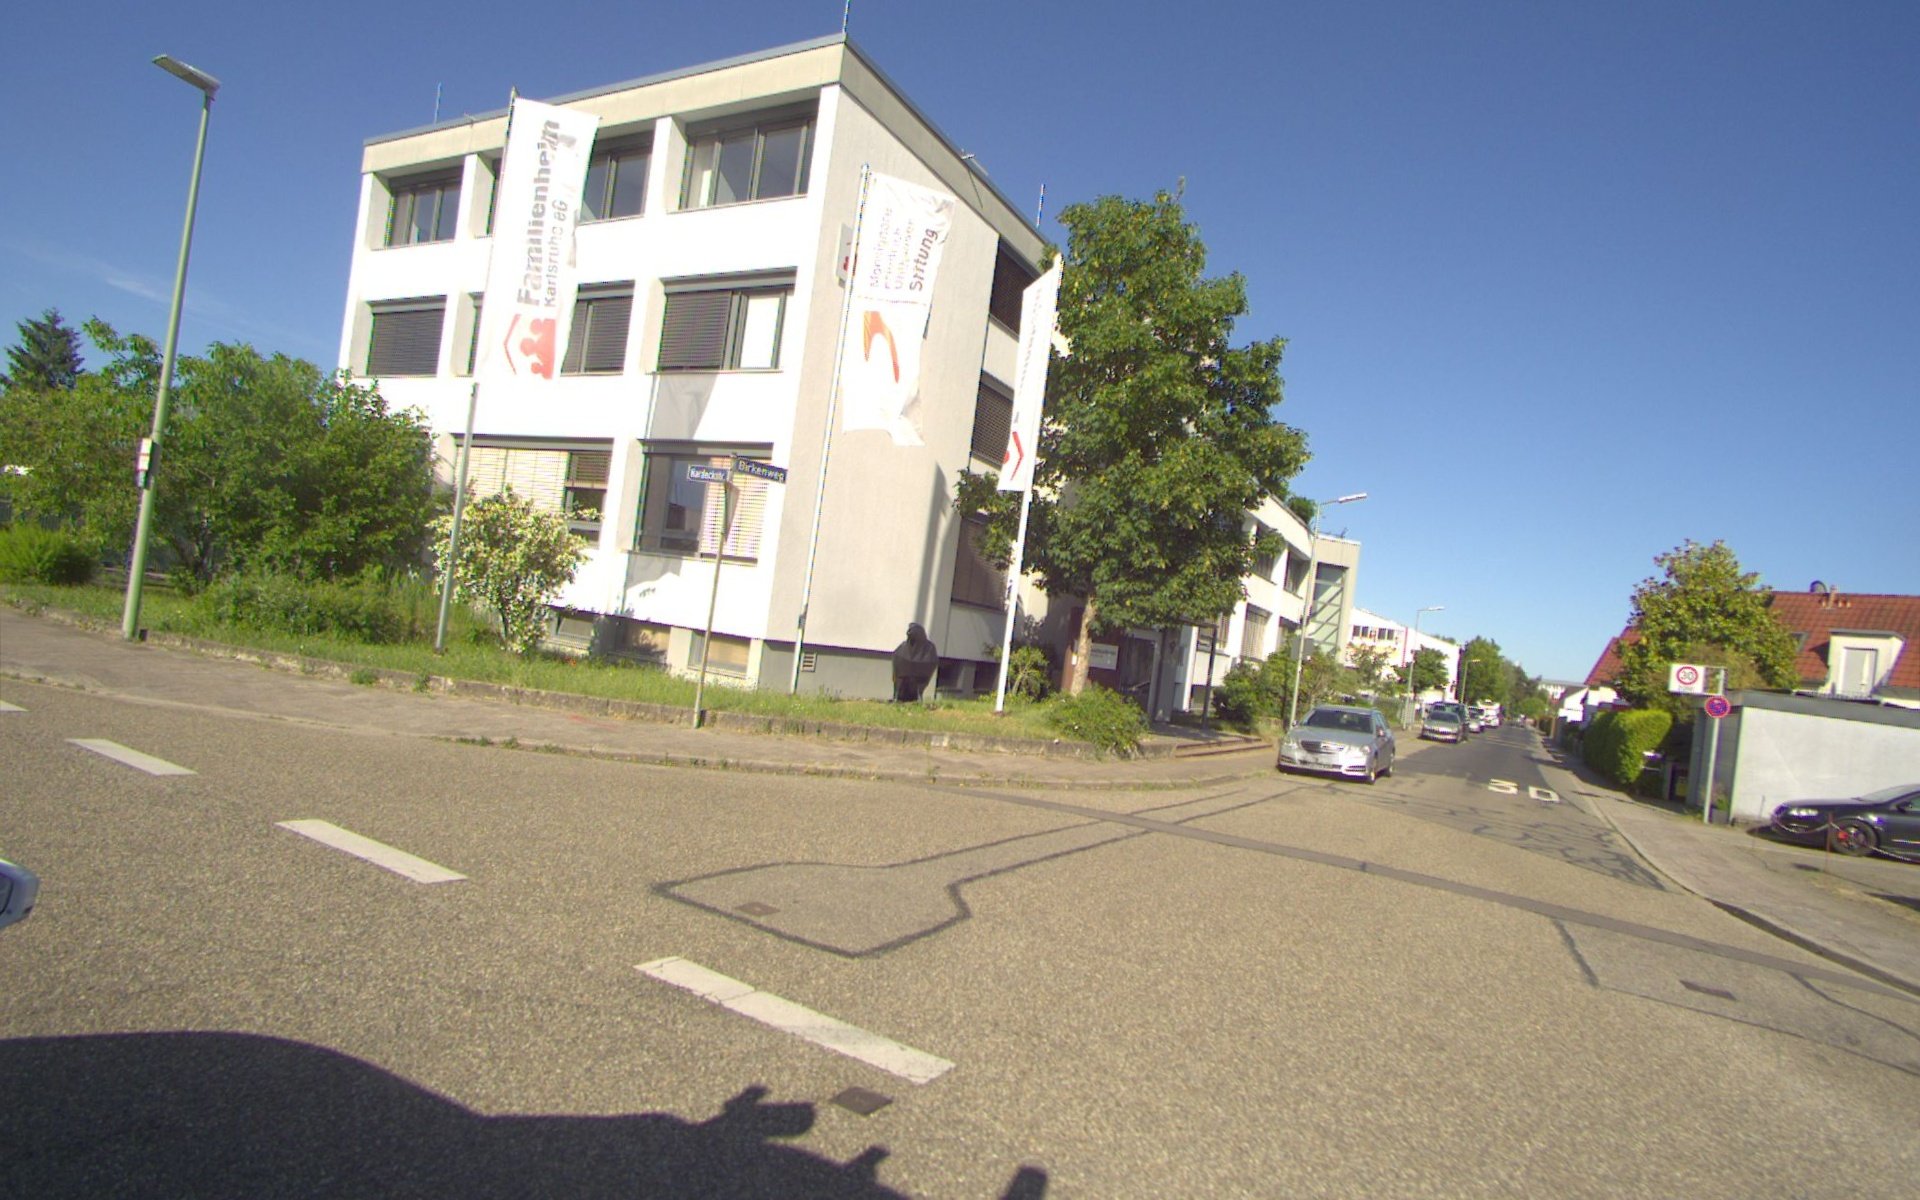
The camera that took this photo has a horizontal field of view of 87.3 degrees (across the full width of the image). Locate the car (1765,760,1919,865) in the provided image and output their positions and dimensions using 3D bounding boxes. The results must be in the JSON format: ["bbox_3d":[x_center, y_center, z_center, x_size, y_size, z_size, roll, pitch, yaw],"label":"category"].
[{"bbox_3d":[16.901,3.800,17.258,4.556,1.454,1.719,3,-4,32],"label":"car"}]

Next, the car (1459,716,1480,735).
[{"bbox_3d":[37.541,9.238,74.168,1.227,1.204,2.679,7,-2,27],"label":"car"}]

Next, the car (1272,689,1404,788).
[{"bbox_3d":[8.136,2.879,21.385,1.770,1.636,4.521,7,-2,30],"label":"car"}]

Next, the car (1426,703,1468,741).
[{"bbox_3d":[26.279,6.554,54.264,1.623,1.737,3.746,7,-2,30],"label":"car"}]

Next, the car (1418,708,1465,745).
[{"bbox_3d":[22.949,6.006,47.927,1.623,1.429,3.746,7,-2,30],"label":"car"}]
